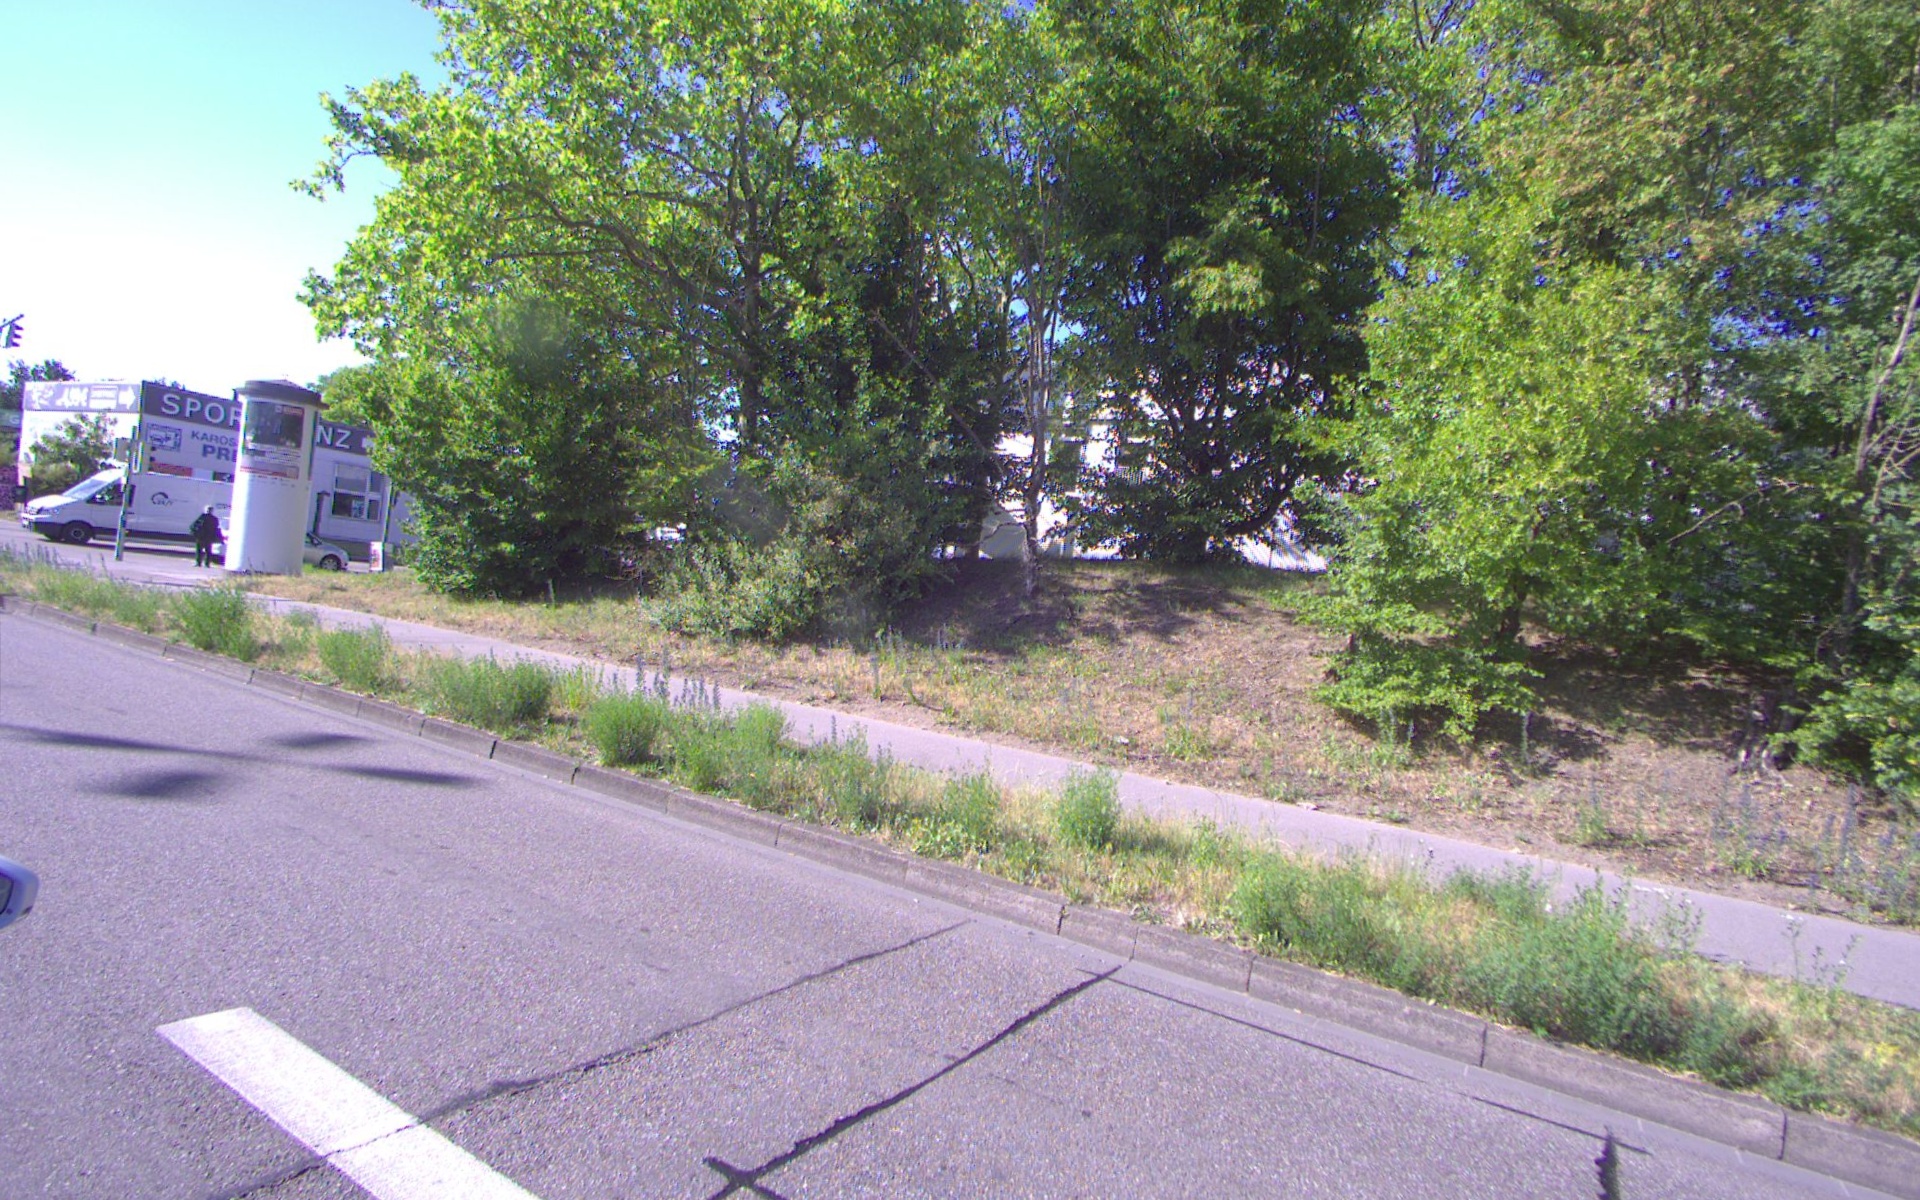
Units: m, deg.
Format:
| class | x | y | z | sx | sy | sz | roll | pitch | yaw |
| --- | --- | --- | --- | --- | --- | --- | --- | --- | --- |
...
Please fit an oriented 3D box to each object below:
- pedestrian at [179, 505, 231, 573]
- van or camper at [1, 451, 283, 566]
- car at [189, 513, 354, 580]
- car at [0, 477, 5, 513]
| class | x | y | z | sx | sy | sz | roll | pitch | yaw |
| --- | --- | --- | --- | --- | --- | --- | --- | --- | --- |
| pedestrian | -20.959 | -1.694 | 27.928 | 0.841 | 1.743 | 0.822 | 7 | 0 | 39 |
| van or camper | -26.698 | -2.879 | 33.235 | 2.148 | 2.603 | 6.743 | 7 | -1 | 31 |
| car | -22.047 | -1.671 | 32.411 | 1.709 | 1.494 | 3.992 | 7 | -1 | 23 |
| car | -48.280 | -5.350 | 47.679 | 1.663 | 1.726 | 4.003 | 7 | -1 | 16 |
